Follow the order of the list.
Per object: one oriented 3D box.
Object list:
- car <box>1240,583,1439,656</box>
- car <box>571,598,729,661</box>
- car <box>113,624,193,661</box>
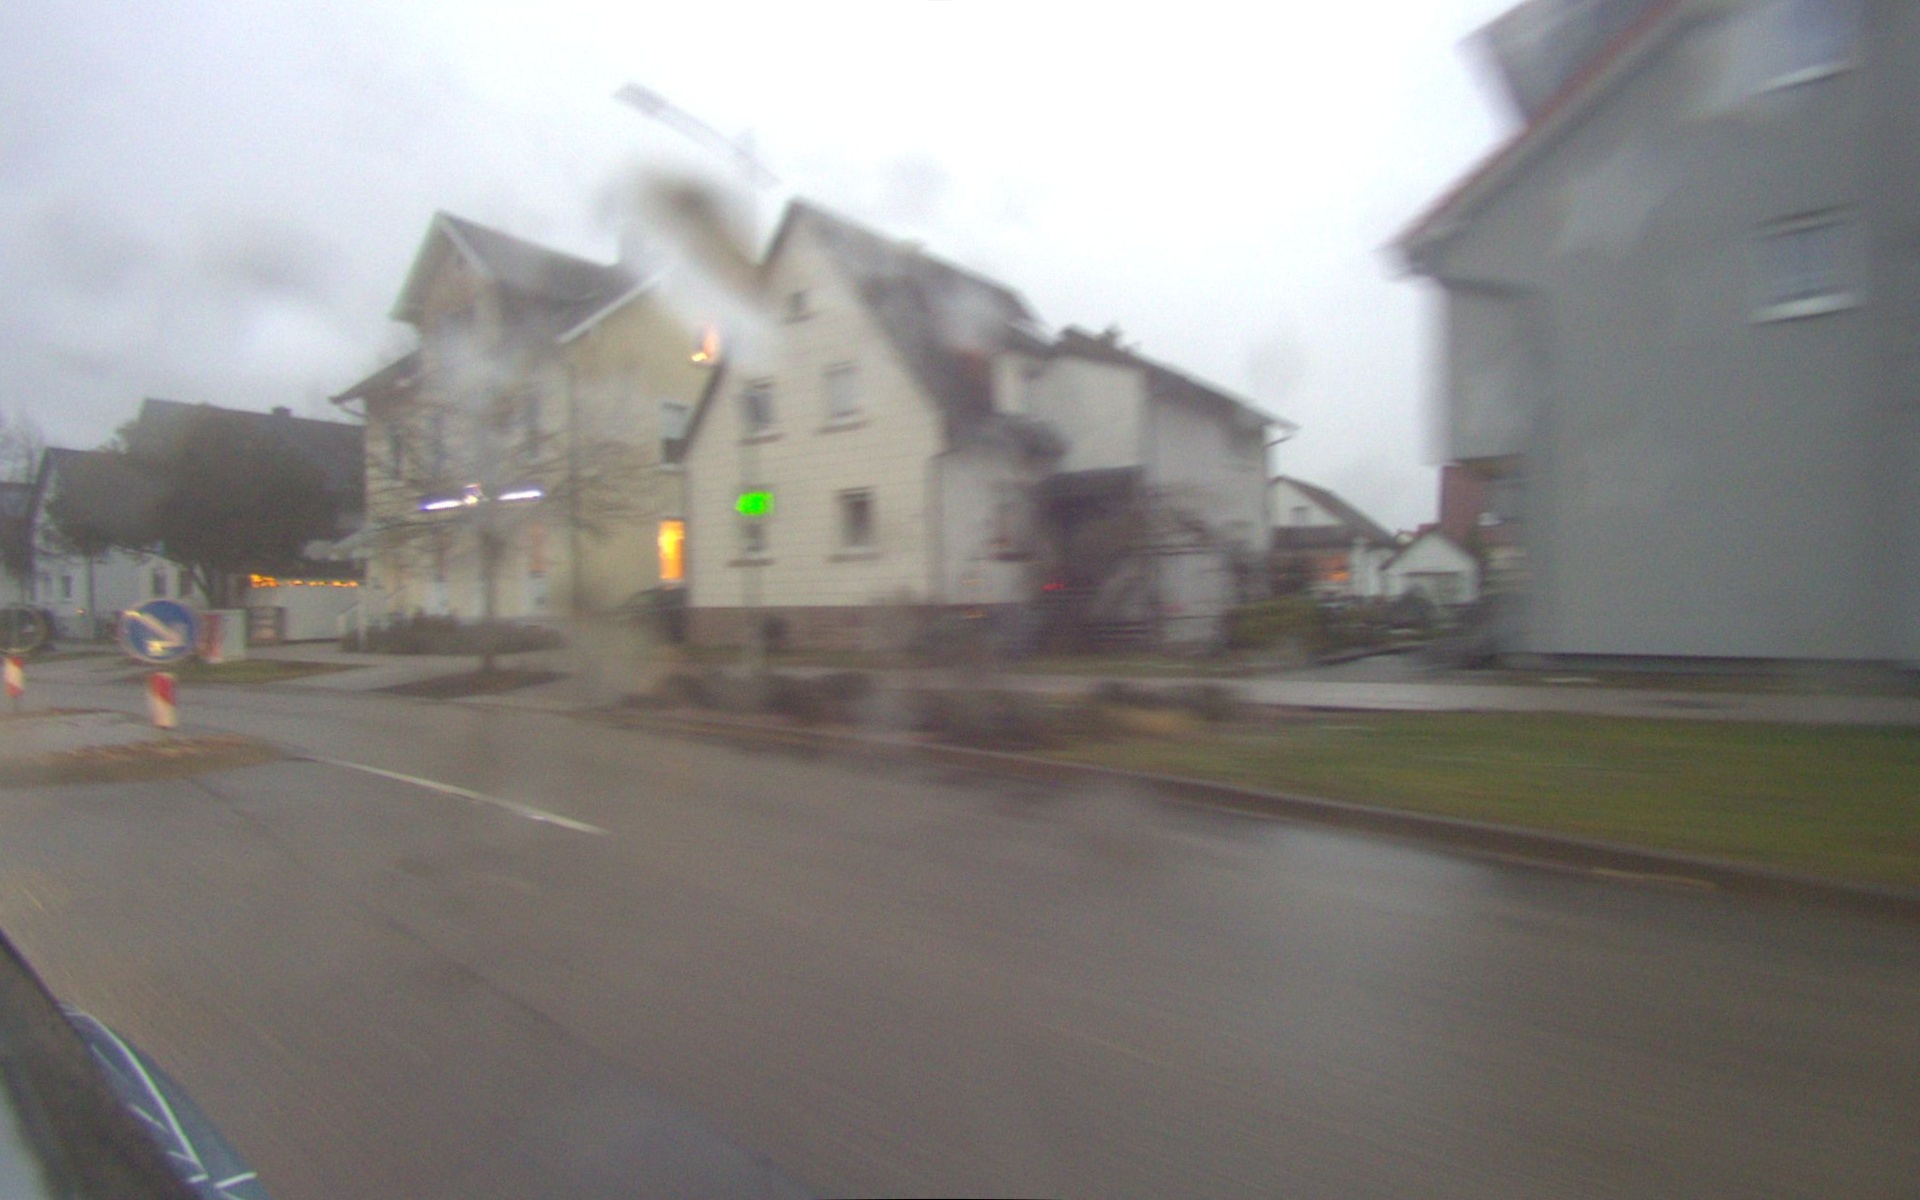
[{"bbox_3d":[8.915,0.413,23.918,3.998,1.537,1.889,0,2,41],"label":"car"},{"bbox_3d":[-8.772,0.786,28.893,1.917,1.612,3.953,-1,0,35],"label":"car"},{"bbox_3d":[-34.279,1.779,42.961,3.994,1.376,1.765,0,2,38],"label":"car"}]
